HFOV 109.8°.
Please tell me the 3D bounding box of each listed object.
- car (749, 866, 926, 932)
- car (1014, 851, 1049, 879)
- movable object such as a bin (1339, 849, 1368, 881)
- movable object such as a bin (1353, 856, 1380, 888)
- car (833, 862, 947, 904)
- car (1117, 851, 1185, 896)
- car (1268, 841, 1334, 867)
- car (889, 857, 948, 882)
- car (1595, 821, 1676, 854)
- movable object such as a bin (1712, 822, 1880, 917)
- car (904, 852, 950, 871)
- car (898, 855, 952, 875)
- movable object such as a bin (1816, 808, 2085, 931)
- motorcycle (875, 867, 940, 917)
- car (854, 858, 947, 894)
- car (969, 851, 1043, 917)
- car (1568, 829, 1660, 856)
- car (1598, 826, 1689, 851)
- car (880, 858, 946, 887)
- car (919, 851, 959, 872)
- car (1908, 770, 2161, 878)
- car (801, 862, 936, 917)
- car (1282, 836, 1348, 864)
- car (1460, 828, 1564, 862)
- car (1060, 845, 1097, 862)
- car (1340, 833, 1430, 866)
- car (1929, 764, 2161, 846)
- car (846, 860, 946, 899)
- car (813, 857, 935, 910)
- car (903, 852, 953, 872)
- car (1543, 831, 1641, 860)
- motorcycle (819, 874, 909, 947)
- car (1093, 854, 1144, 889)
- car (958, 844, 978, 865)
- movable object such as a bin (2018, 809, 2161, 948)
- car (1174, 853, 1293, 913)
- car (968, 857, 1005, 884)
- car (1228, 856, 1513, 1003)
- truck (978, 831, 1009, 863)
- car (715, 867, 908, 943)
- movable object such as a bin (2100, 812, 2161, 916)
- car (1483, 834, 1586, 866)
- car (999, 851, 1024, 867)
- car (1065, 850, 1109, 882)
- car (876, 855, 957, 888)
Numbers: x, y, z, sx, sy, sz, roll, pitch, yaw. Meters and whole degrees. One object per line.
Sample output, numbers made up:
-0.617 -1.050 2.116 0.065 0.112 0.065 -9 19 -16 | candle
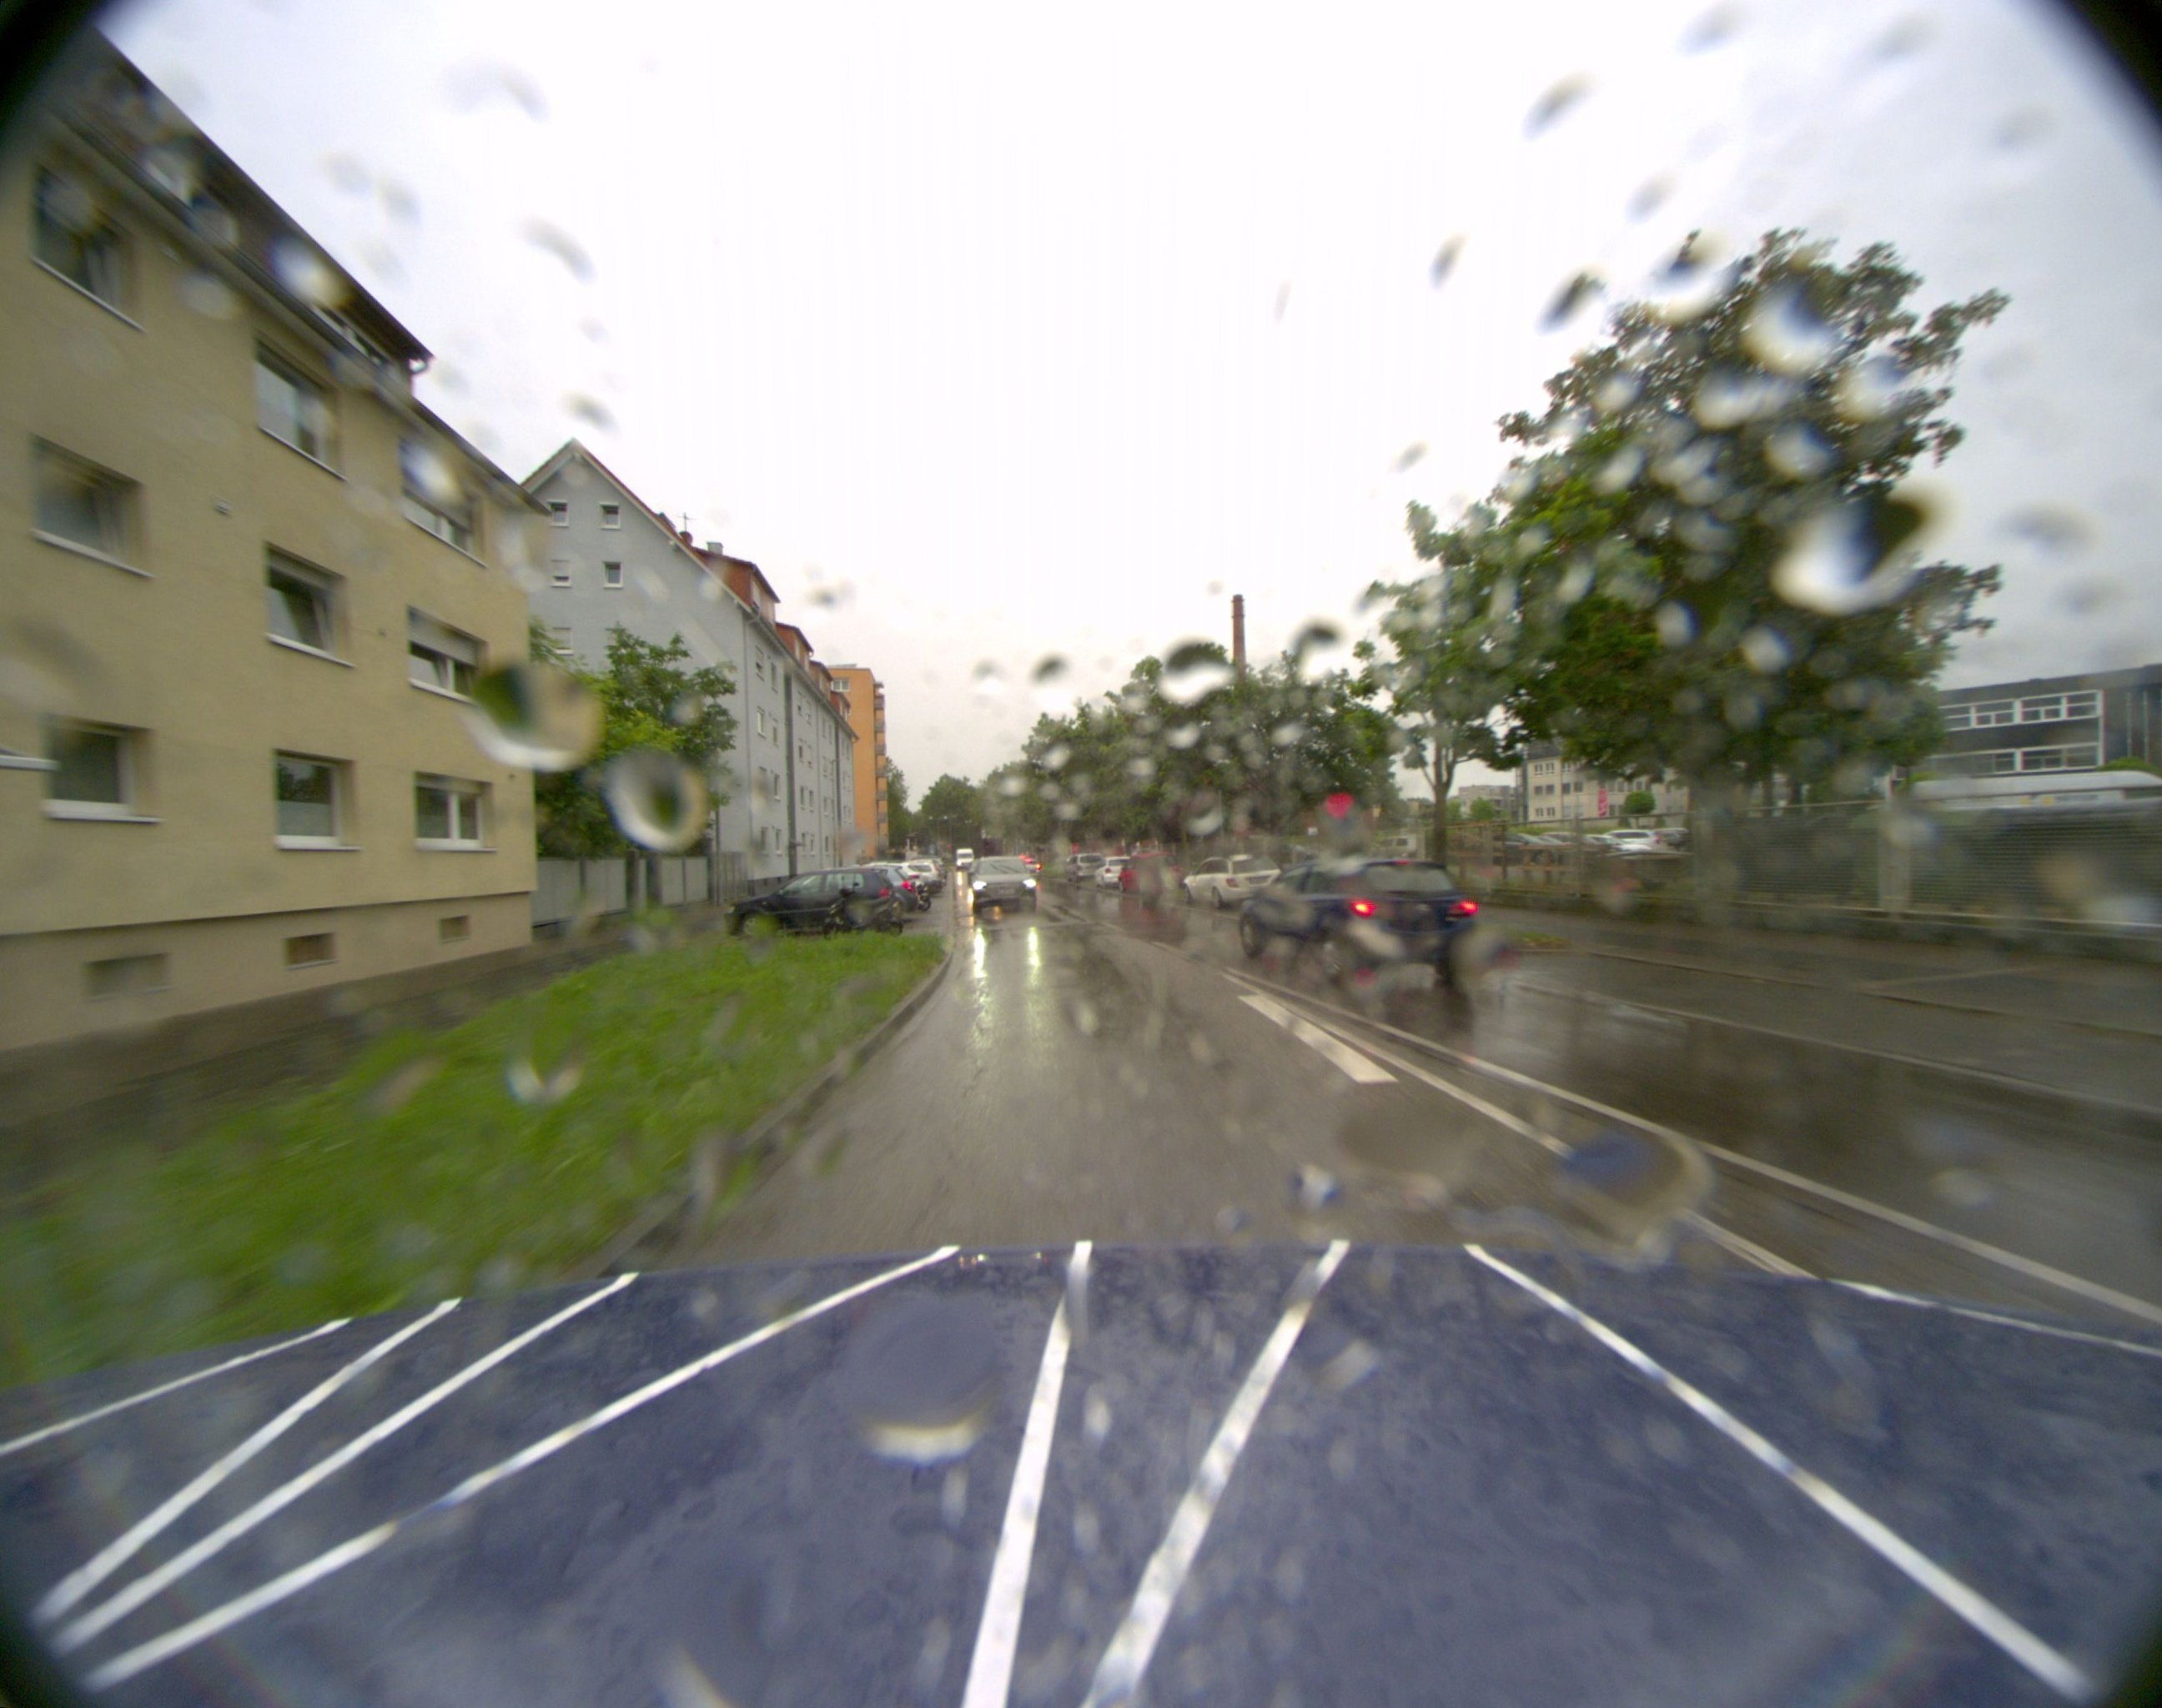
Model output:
-6.187 1.120 19.769 4.066 1.446 1.933 -2 -1 -9 | car
-3.480 0.704 52.914 2.072 1.732 4.171 -2 1 -8 | car
8.669 0.333 24.180 0.548 0.980 0.713 -3 1 -9 | movable object such as a bin
8.797 0.547 23.425 0.539 0.943 0.637 -3 1 -9 | movable object such as a bin
-7.965 1.184 32.051 4.391 1.468 2.048 -2 1 -8 | car
2.736 0.713 30.471 1.630 1.589 3.793 -3 1 -12 | car
15.209 0.035 52.661 1.774 1.661 3.989 -3 2 -41 | car
-10.629 1.003 49.954 3.621 1.479 1.540 -2 1 -8 | car
36.922 -1.091 50.685 2.003 2.002 3.989 -3 2 -40 | car
11.210 0.216 11.974 1.496 1.360 1.261 -3 1 -9 | movable object such as a bin
-14.698 0.667 72.782 4.174 1.596 1.649 -2 1 -8 | car
-12.873 0.916 62.791 4.174 1.445 1.649 -2 1 -8 | car
11.559 0.169 10.222 1.564 1.433 1.830 -3 1 -9 | movable object such as a bin
-5.175 1.129 22.732 1.768 1.365 0.734 -2 1 -8 | motorcycle
-8.601 1.049 36.546 4.174 1.468 1.649 -2 1 -8 | car
-2.378 0.825 23.293 1.962 1.702 4.170 -3 1 -9 | car
31.495 -0.640 44.962 2.003 1.444 3.989 -3 1 -37 | car
33.970 -0.915 45.954 2.003 1.344 3.989 -3 1 -37 | car
-9.816 1.048 44.682 3.621 1.479 1.540 -2 1 -8 | car
-15.176 0.786 81.205 3.999 2.002 1.998 -2 1 -8 | car
23.906 -0.688 18.682 2.154 2.383 4.707 -3 2 -39 | car
-6.745 1.107 24.507 3.926 1.472 1.855 -2 1 -8 | car
16.640 -0.273 54.247 2.004 1.871 3.989 -3 2 -41 | car
20.800 -0.412 36.811 1.763 1.486 3.989 -3 1 -37 | car
-0.314 -0.049 88.239 4.007 1.752 1.994 -3 2 -44 | car
16.379 -0.227 41.074 2.071 1.661 3.989 -3 2 -41 | car
22.445 -1.077 17.273 1.751 1.630 4.136 -3 1 -39 | car
-8.294 1.135 34.451 4.174 1.468 1.918 -2 1 -8 | car
-7.245 1.018 26.909 3.926 1.605 1.690 -2 1 -8 | car
-13.546 0.718 67.599 4.174 1.596 1.649 -2 1 -8 | car
27.878 -0.436 41.544 2.003 1.444 3.989 -3 1 -37 | car
-4.296 1.106 15.132 1.594 1.317 0.694 -3 0 -10 | motorcycle
1.714 0.778 35.754 1.695 1.445 3.715 -2 1 -8 | car
-13.345 0.045 89.471 2.195 2.243 4.880 -3 1 -9 | car
12.067 0.225 8.184 1.916 1.416 1.755 -2 1 -9 | movable object such as a bin
4.321 0.751 22.362 1.780 1.452 4.675 -3 1 -10 | car
-5.694 0.971 45.400 1.962 1.382 4.170 -2 1 -9 | car
3.479 0.803 10.024 1.712 1.492 3.942 0 1 -10 | car
-12.773 -1.036 110.387 3.836 4.360 10.775 -3 1 -9 | truck
-5.936 1.095 17.163 3.763 1.446 1.800 -2 -1 -9 | car
14.861 0.122 9.744 1.220 1.360 1.787 -3 1 -8 | movable object such as a bin
22.868 -0.179 38.386 2.003 1.444 3.989 -3 1 -37 | car
-6.735 0.438 73.223 2.072 1.437 4.170 -2 1 -9 | car
0.284 0.645 44.461 1.883 1.672 4.033 -3 1 -9 | car
-8.995 0.954 41.818 4.174 1.561 1.649 -2 1 -8 | car
